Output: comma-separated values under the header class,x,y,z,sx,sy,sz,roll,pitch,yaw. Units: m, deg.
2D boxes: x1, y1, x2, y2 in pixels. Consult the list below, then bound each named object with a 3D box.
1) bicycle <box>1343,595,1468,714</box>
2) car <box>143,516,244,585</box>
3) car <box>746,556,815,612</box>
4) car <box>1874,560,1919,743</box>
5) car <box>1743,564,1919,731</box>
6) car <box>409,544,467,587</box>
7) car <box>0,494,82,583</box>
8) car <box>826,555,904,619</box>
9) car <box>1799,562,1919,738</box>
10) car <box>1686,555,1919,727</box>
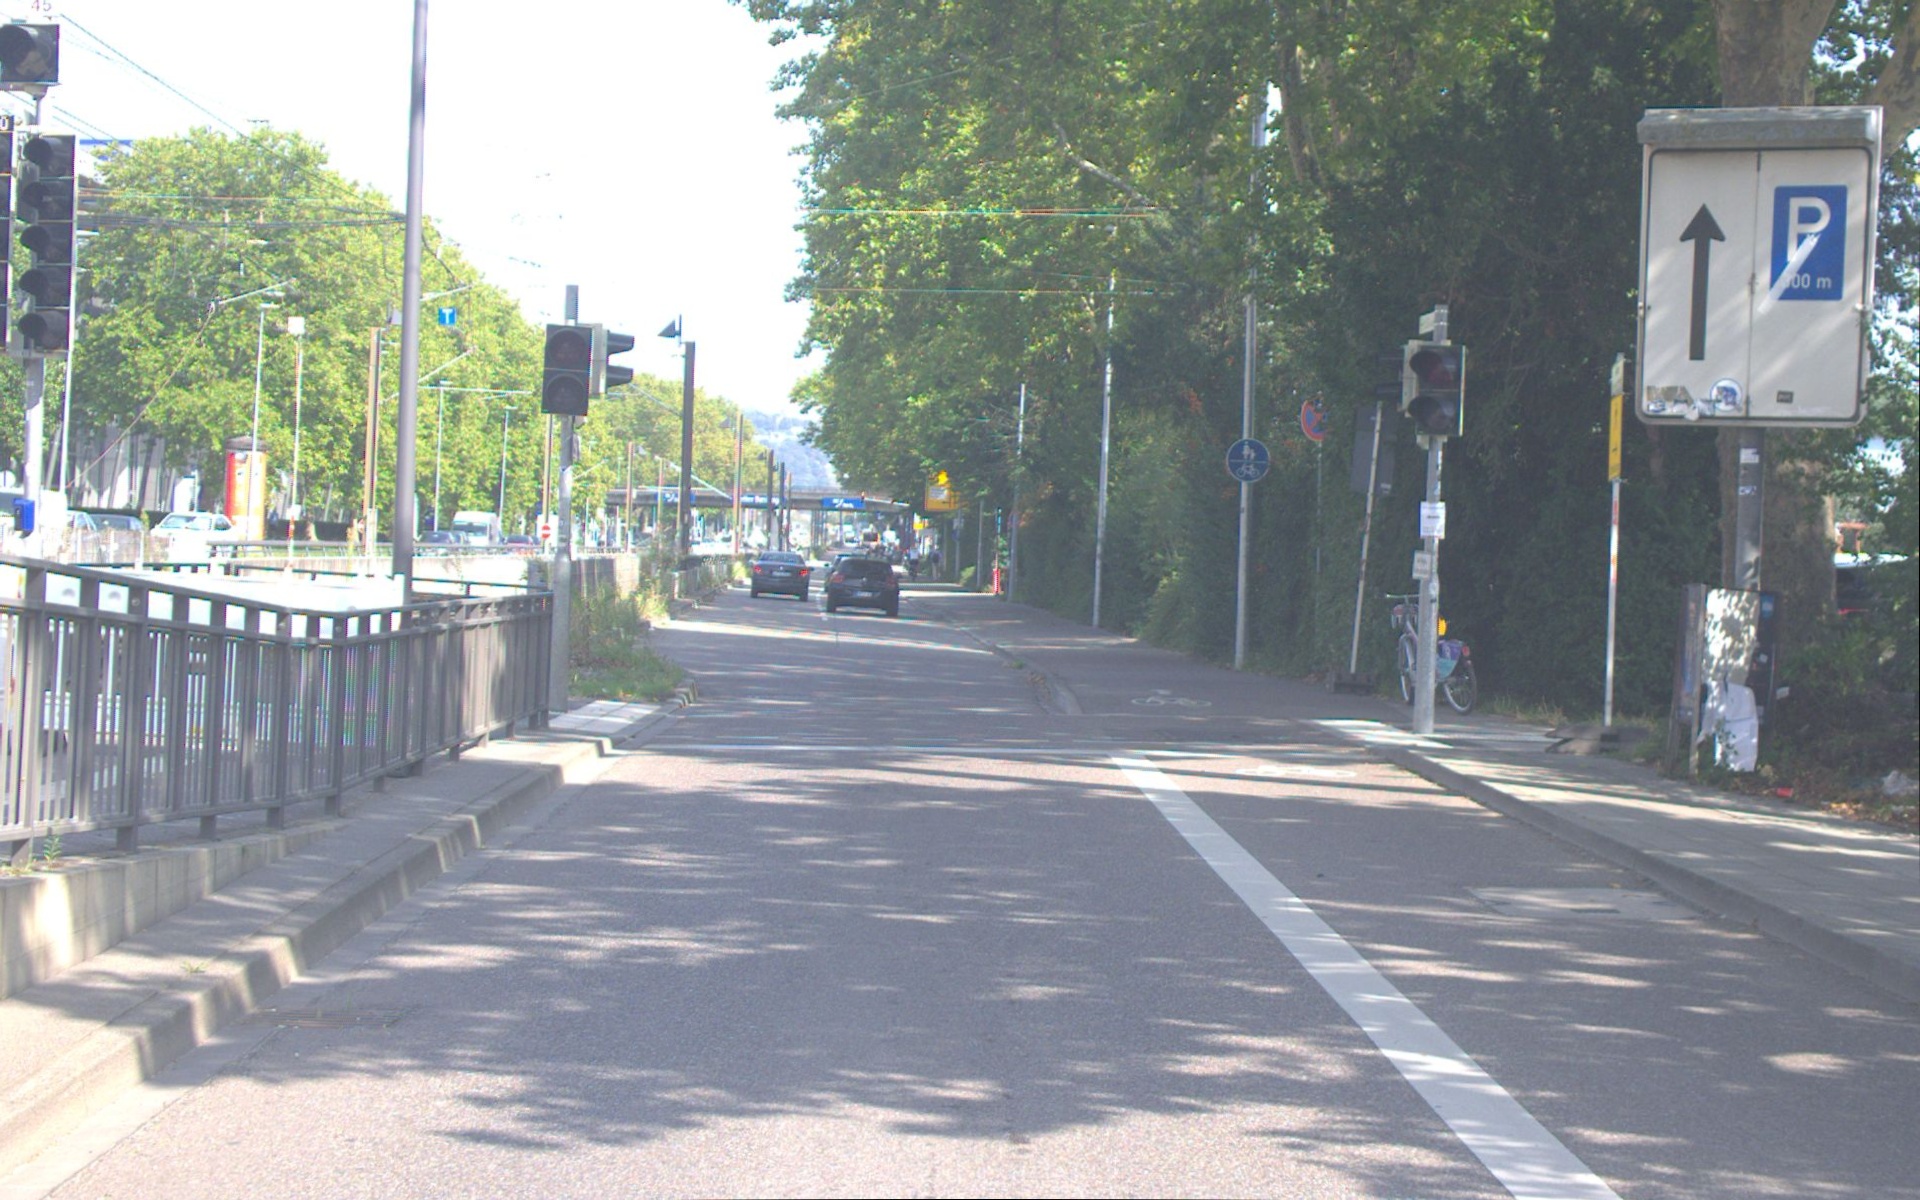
class,x,y,z,sx,sy,sz,roll,pitch,yaw
bicycle,4.207,0.497,32.637,0.610,1.018,2.403,2,1,-6
car,-21.176,-1.337,95.097,1.993,1.831,4.000,-1,0,-2
car,-5.283,-0.488,101.707,1.973,1.532,4.001,-1,1,-2
car,10.383,0.534,30.349,3.986,1.581,2.000,2,1,-2
car,10.290,0.518,35.182,3.986,1.581,2.000,2,1,-2
car,-22.522,-1.478,148.314,1.993,1.831,4.000,-1,0,-2
car,-20.210,-1.286,73.456,1.993,1.831,4.000,-1,0,-2
car,-2.404,-0.346,86.371,1.907,1.532,4.001,0,1,-2
car,10.326,0.527,32.911,3.986,1.581,2.000,2,1,-2
car,10.194,0.466,37.557,3.986,1.718,2.000,2,1,-2
